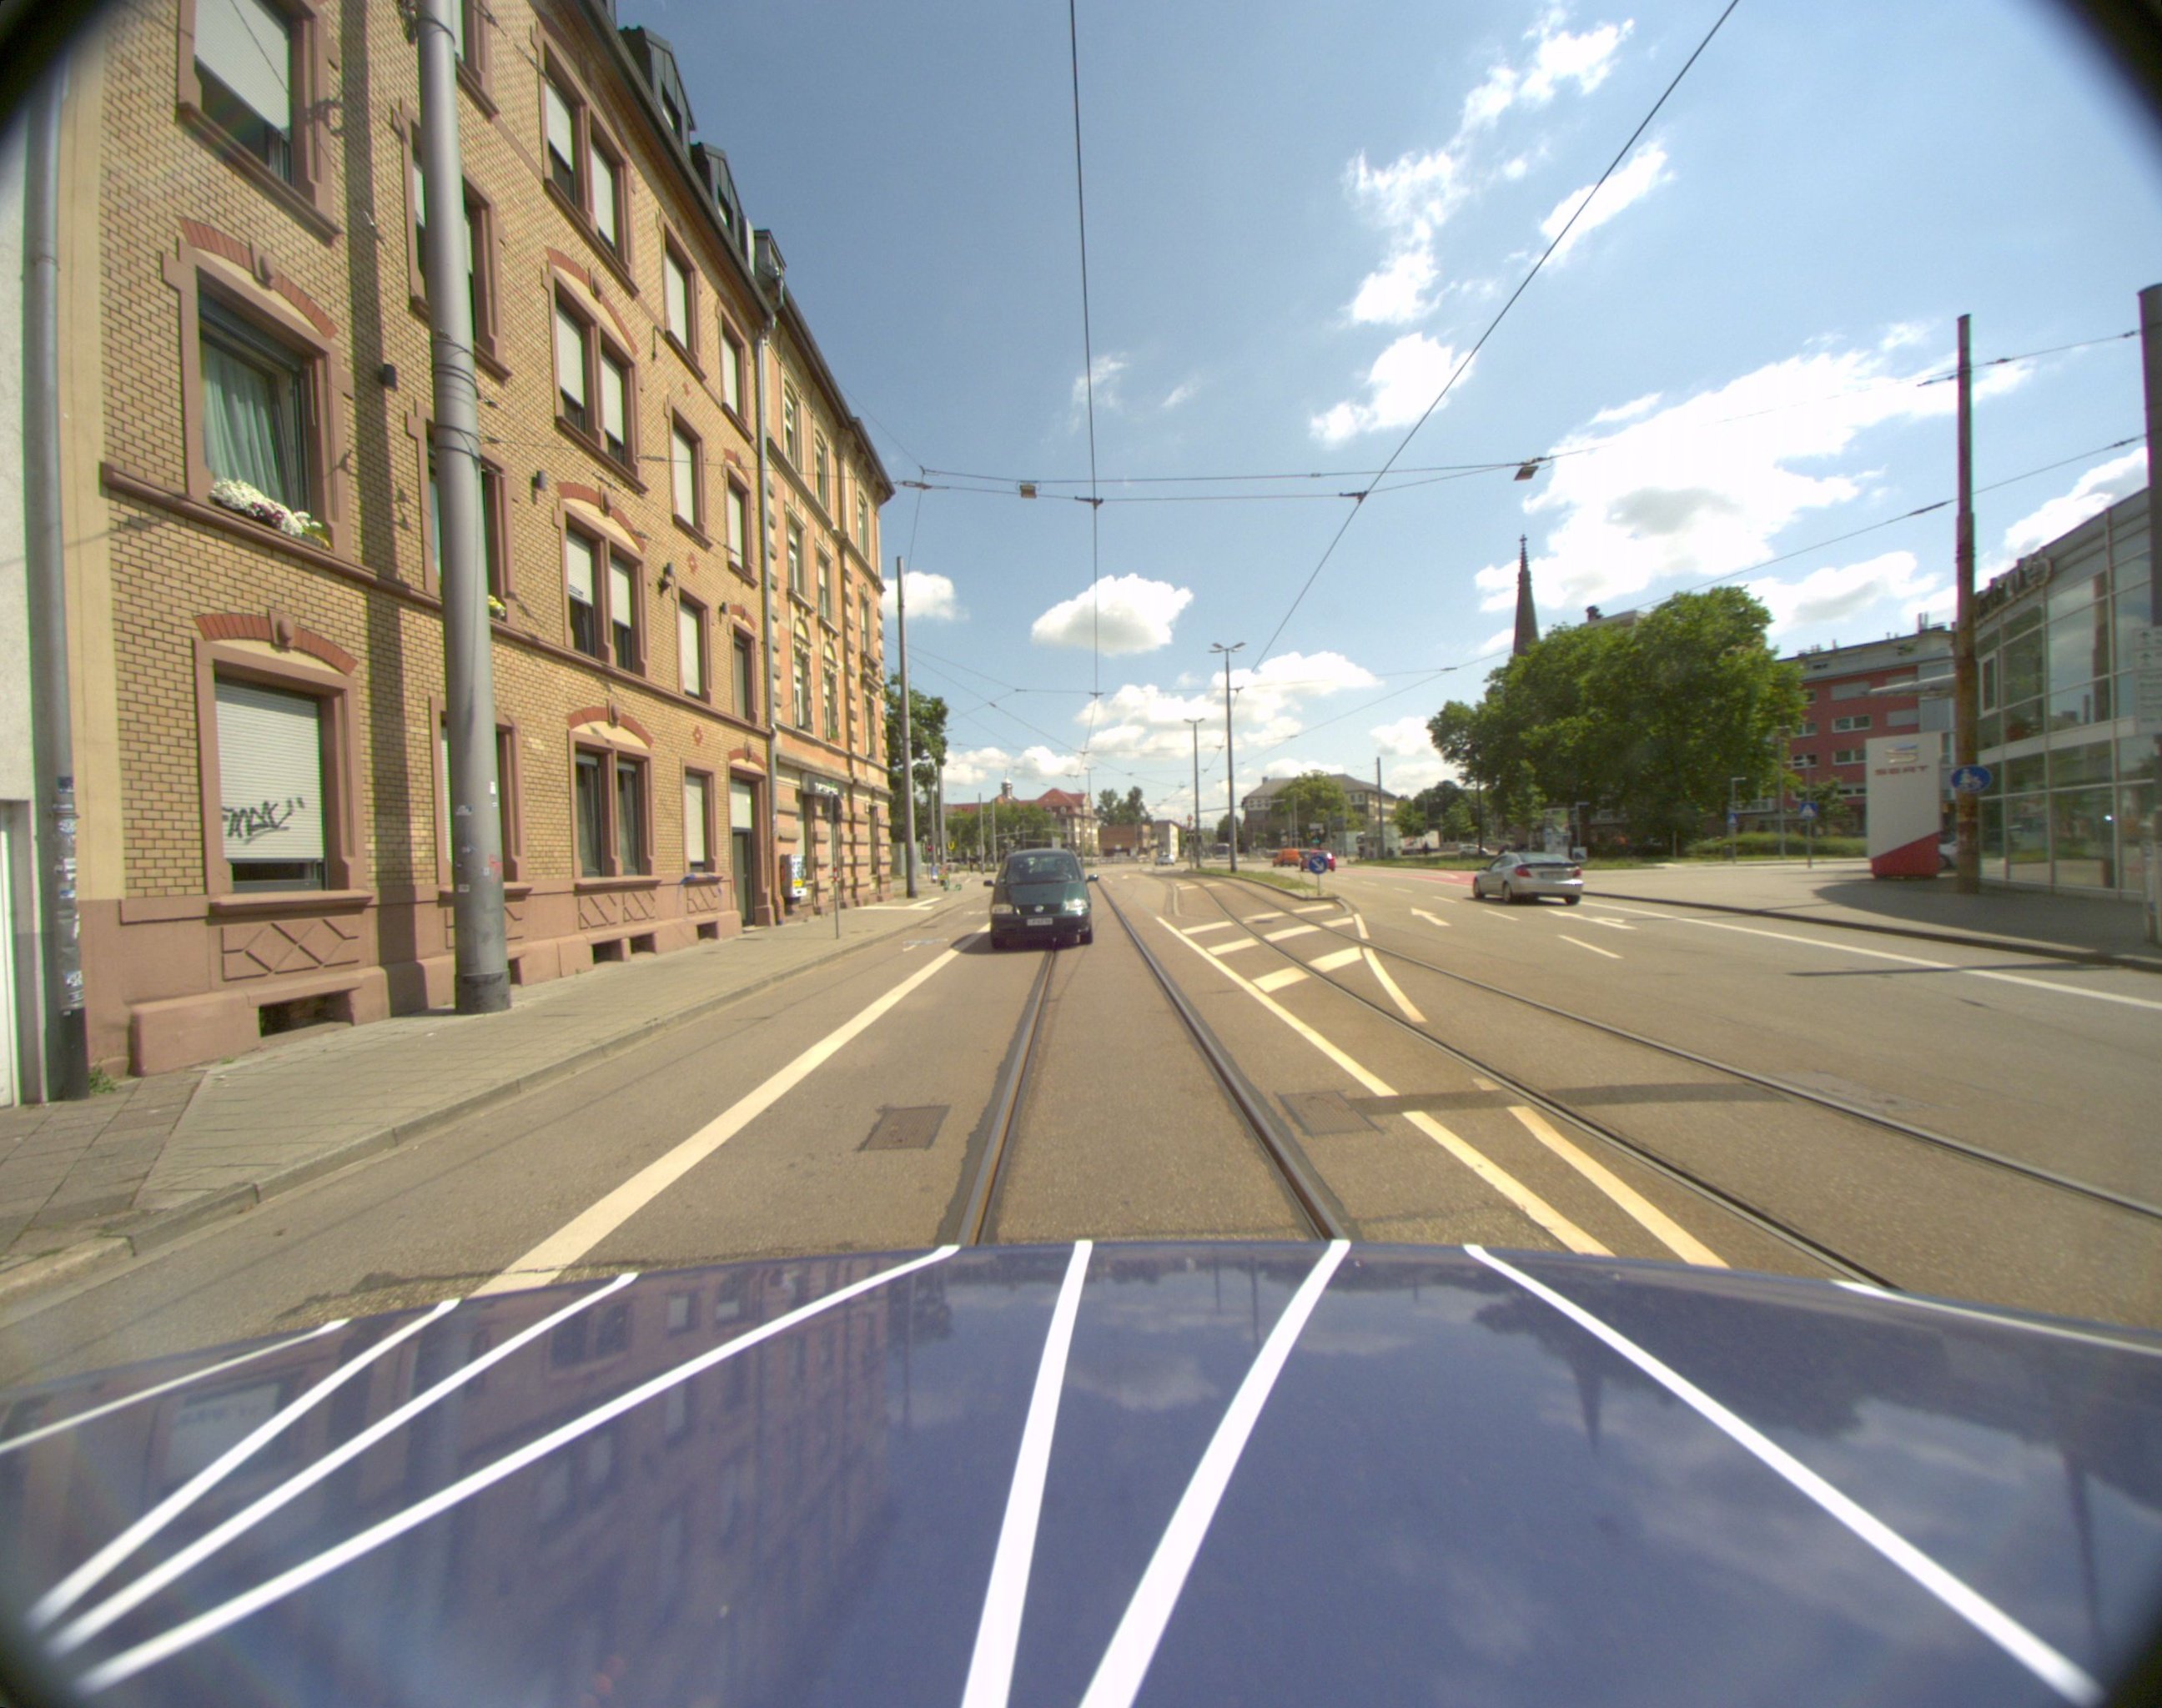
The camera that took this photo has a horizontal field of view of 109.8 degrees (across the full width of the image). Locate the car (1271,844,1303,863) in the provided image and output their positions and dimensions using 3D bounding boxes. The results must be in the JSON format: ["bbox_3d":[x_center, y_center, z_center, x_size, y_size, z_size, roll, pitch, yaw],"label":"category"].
[{"bbox_3d":[20.987,-0.067,77.478,1.916,1.855,4.366,-2,0,-1],"label":"car"}]

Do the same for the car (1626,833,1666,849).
[{"bbox_3d":[56.102,-1.288,75.390,3.937,1.501,1.875,-2,0,-32],"label":"car"}]

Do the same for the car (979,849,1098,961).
[{"bbox_3d":[-0.685,0.824,14.431,1.819,1.707,4.085,-4,0,0],"label":"car"}]

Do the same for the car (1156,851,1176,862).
[{"bbox_3d":[12.093,0.371,108.167,1.772,1.594,4.490,-1,0,-8],"label":"car"}]

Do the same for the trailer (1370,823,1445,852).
[{"bbox_3d":[49.398,-2.520,114.805,13.439,4.052,2.942,-2,1,-31],"label":"trailer"}]

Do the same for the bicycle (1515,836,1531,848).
[{"bbox_3d":[52.285,-1.403,89.894,0.494,1.257,1.599,-3,0,-30],"label":"bicycle"}]

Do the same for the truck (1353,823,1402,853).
[{"bbox_3d":[43.467,-2.359,111.310,6.889,4.095,2.957,-2,1,-30],"label":"truck"}]

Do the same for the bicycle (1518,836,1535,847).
[{"bbox_3d":[50.546,-1.372,86.190,0.494,1.161,1.599,-3,0,-30],"label":"bicycle"}]

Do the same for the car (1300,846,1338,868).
[{"bbox_3d":[16.705,0.193,53.478,1.705,1.420,3.903,-1,0,4],"label":"car"}]

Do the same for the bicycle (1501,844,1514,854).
[{"bbox_3d":[51.414,-0.627,91.660,0.460,1.139,1.271,-2,0,-34],"label":"bicycle"}]

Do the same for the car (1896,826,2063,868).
[{"bbox_3d":[33.902,-0.233,28.757,1.838,1.438,3.937,-3,0,-36],"label":"car"}]

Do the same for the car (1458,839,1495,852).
[{"bbox_3d":[52.715,-1.142,101.337,4.164,1.633,1.631,-2,0,18],"label":"car"}]

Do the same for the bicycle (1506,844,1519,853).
[{"bbox_3d":[52.519,-0.659,92.399,0.460,1.139,1.271,-2,0,-34],"label":"bicycle"}]

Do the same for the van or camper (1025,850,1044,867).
[{"bbox_3d":[-7.966,0.757,130.031,2.234,2.719,5.516,-2,0,-12],"label":"van or camper"}]

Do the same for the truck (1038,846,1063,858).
[{"bbox_3d":[-7.616,-0.534,190.394,3.350,2.980,8.745,-2,0,18],"label":"truck"}]

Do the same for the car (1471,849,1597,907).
[{"bbox_3d":[12.362,0.594,21.031,1.817,1.412,4.191,-1,0,13],"label":"car"}]

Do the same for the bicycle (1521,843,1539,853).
[{"bbox_3d":[48.904,-0.684,82.835,0.494,1.060,1.599,-3,0,-30],"label":"bicycle"}]

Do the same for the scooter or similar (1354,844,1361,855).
[{"bbox_3d":[28.301,-0.438,77.748,0.416,1.118,0.556,-2,0,-1],"label":"scooter or similar"}]

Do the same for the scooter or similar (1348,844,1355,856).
[{"bbox_3d":[27.573,-0.449,77.481,0.462,1.193,0.549,-2,0,-1],"label":"scooter or similar"}]

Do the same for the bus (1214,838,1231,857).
[{"bbox_3d":[26.779,-1.172,143.859,2.947,3.427,7.954,-2,0,11],"label":"bus"}]

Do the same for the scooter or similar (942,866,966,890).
[{"bbox_3d":[-6.555,1.239,39.252,0.949,1.173,1.086,-1,1,7],"label":"scooter or similar"}]
